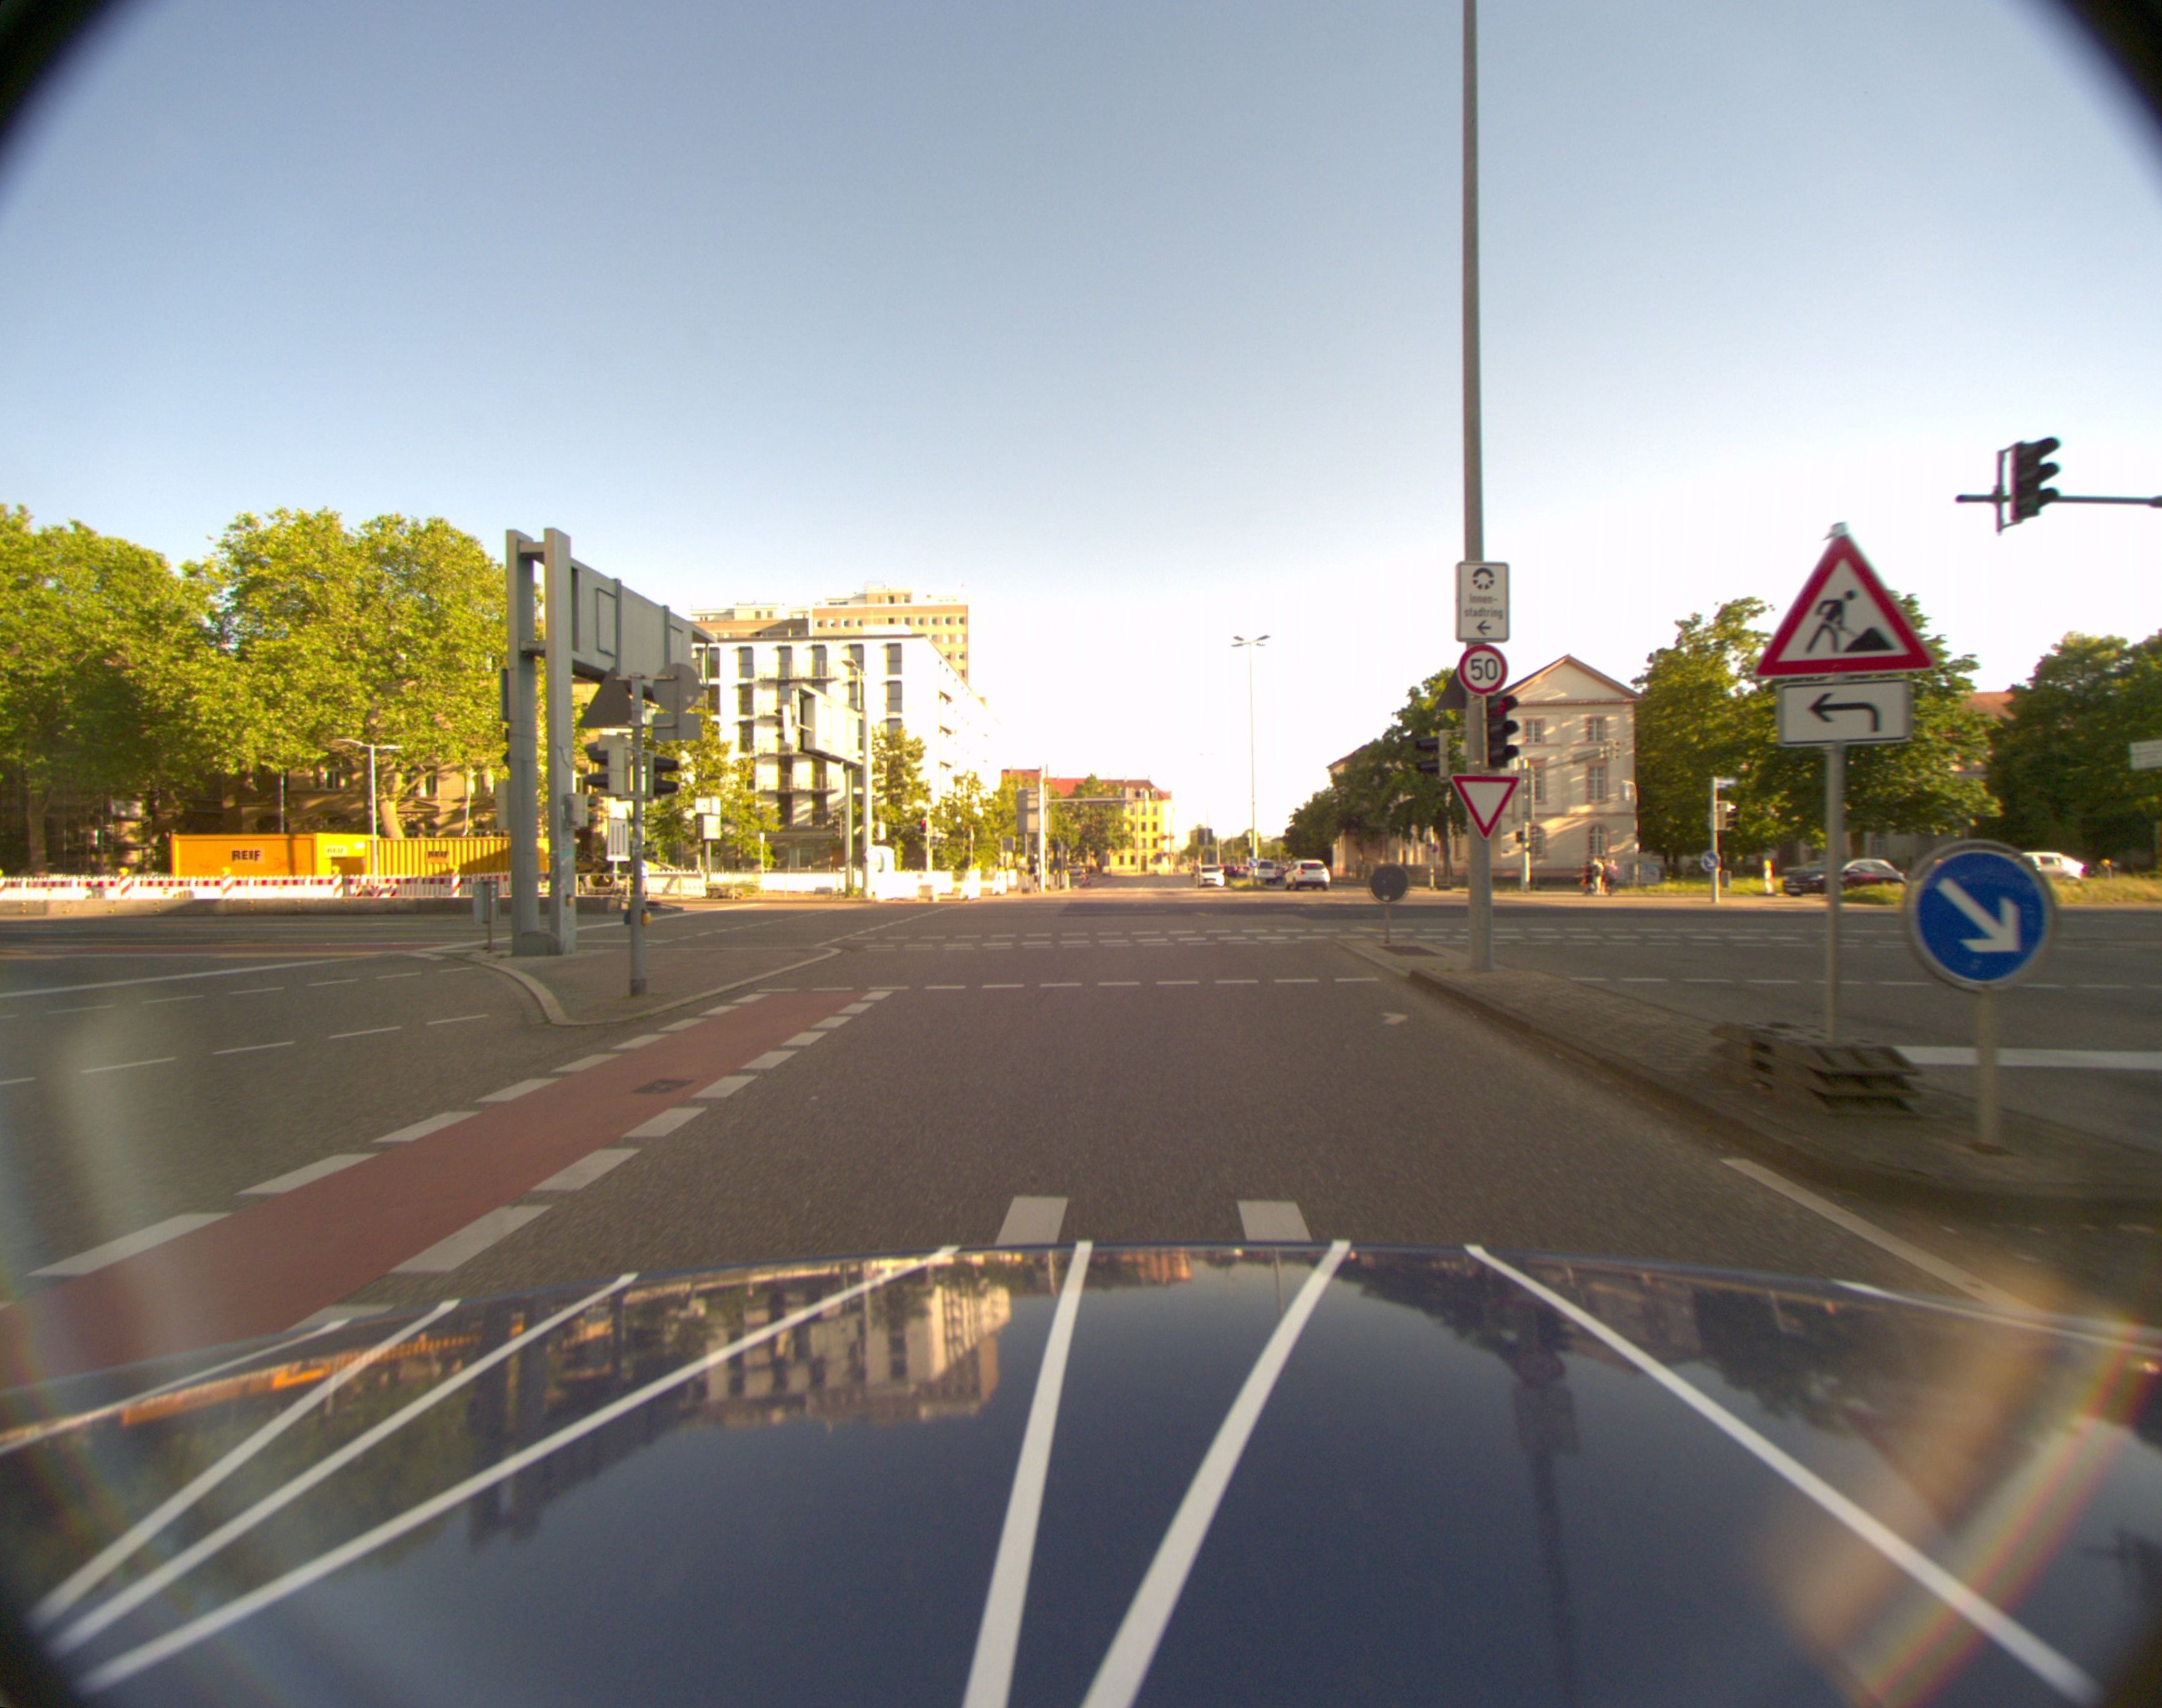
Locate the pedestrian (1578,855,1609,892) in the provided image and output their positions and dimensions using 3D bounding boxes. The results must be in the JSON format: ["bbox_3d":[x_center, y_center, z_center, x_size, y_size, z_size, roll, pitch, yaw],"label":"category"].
[{"bbox_3d":[23.891,0.906,35.415,0.678,1.698,1.084,0,0,-2],"label":"pedestrian"}]

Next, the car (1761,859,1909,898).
[{"bbox_3d":[29.028,0.922,29.357,3.643,1.437,2.001,-1,0,2],"label":"car"}]

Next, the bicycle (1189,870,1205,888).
[{"bbox_3d":[7.122,1.539,46.870,0.833,1.101,2.082,-1,-1,5],"label":"bicycle"}]

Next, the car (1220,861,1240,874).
[{"bbox_3d":[16.548,1.503,84.652,1.764,1.454,4.294,-1,-1,5],"label":"car"}]

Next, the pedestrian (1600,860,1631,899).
[{"bbox_3d":[22.722,1.068,32.325,0.678,1.641,0.883,0,0,-2],"label":"pedestrian"}]

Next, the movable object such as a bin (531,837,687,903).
[{"bbox_3d":[-19.098,0.655,30.864,5.209,2.578,2.001,-1,0,5],"label":"movable object such as a bin"}]

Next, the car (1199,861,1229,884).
[{"bbox_3d":[8.920,1.240,51.277,1.763,1.489,3.710,-1,-1,7],"label":"car"}]

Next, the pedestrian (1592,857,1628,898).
[{"bbox_3d":[24.707,1.087,35.506,0.820,1.838,1.170,0,0,-2],"label":"pedestrian"}]

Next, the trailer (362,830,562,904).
[{"bbox_3d":[-25.183,0.543,31.124,6.125,2.850,2.542,0,0,1],"label":"trailer"}]

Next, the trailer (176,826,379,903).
[{"bbox_3d":[-33.067,0.440,31.386,6.123,2.997,2.408,-1,0,4],"label":"trailer"}]

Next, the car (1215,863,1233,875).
[{"bbox_3d":[18.354,1.883,97.783,1.764,1.454,4.294,-1,-1,5],"label":"car"}]

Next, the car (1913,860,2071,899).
[{"bbox_3d":[35.296,0.977,29.526,3.643,1.437,2.001,-1,0,2],"label":"car"}]

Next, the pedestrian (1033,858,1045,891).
[{"bbox_3d":[-2.396,1.152,43.270,0.500,1.866,0.601,0,0,-23],"label":"pedestrian"}]

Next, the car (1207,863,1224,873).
[{"bbox_3d":[19.849,2.052,112.391,2.047,1.454,4.294,-1,-1,5],"label":"car"}]

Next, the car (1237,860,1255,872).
[{"bbox_3d":[21.853,1.599,100.820,1.764,1.454,4.294,-1,-1,5],"label":"car"}]

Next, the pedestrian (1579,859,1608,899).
[{"bbox_3d":[21.767,1.051,32.277,0.621,1.641,0.890,0,0,-2],"label":"pedestrian"}]

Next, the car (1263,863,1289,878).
[{"bbox_3d":[19.139,1.598,74.820,1.764,1.454,4.294,-1,-1,5],"label":"car"}]

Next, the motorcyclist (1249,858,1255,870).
[{"bbox_3d":[20.353,1.171,90.320,0.620,1.398,0.756,0,0,3],"label":"motorcyclist"}]

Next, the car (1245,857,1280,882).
[{"bbox_3d":[14.112,1.171,59.377,1.831,1.836,4.949,-1,-1,4],"label":"car"}]

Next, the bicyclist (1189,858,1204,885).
[{"bbox_3d":[7.140,1.079,46.868,0.838,1.594,1.024,0,0,5],"label":"bicyclist"}]

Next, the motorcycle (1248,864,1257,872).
[{"bbox_3d":[20.347,1.673,90.302,0.640,0.874,2.162,0,-1,3],"label":"motorcycle"}]

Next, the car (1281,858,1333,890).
[{"bbox_3d":[12.638,1.083,42.740,1.832,1.696,4.442,-1,-1,3],"label":"car"}]
